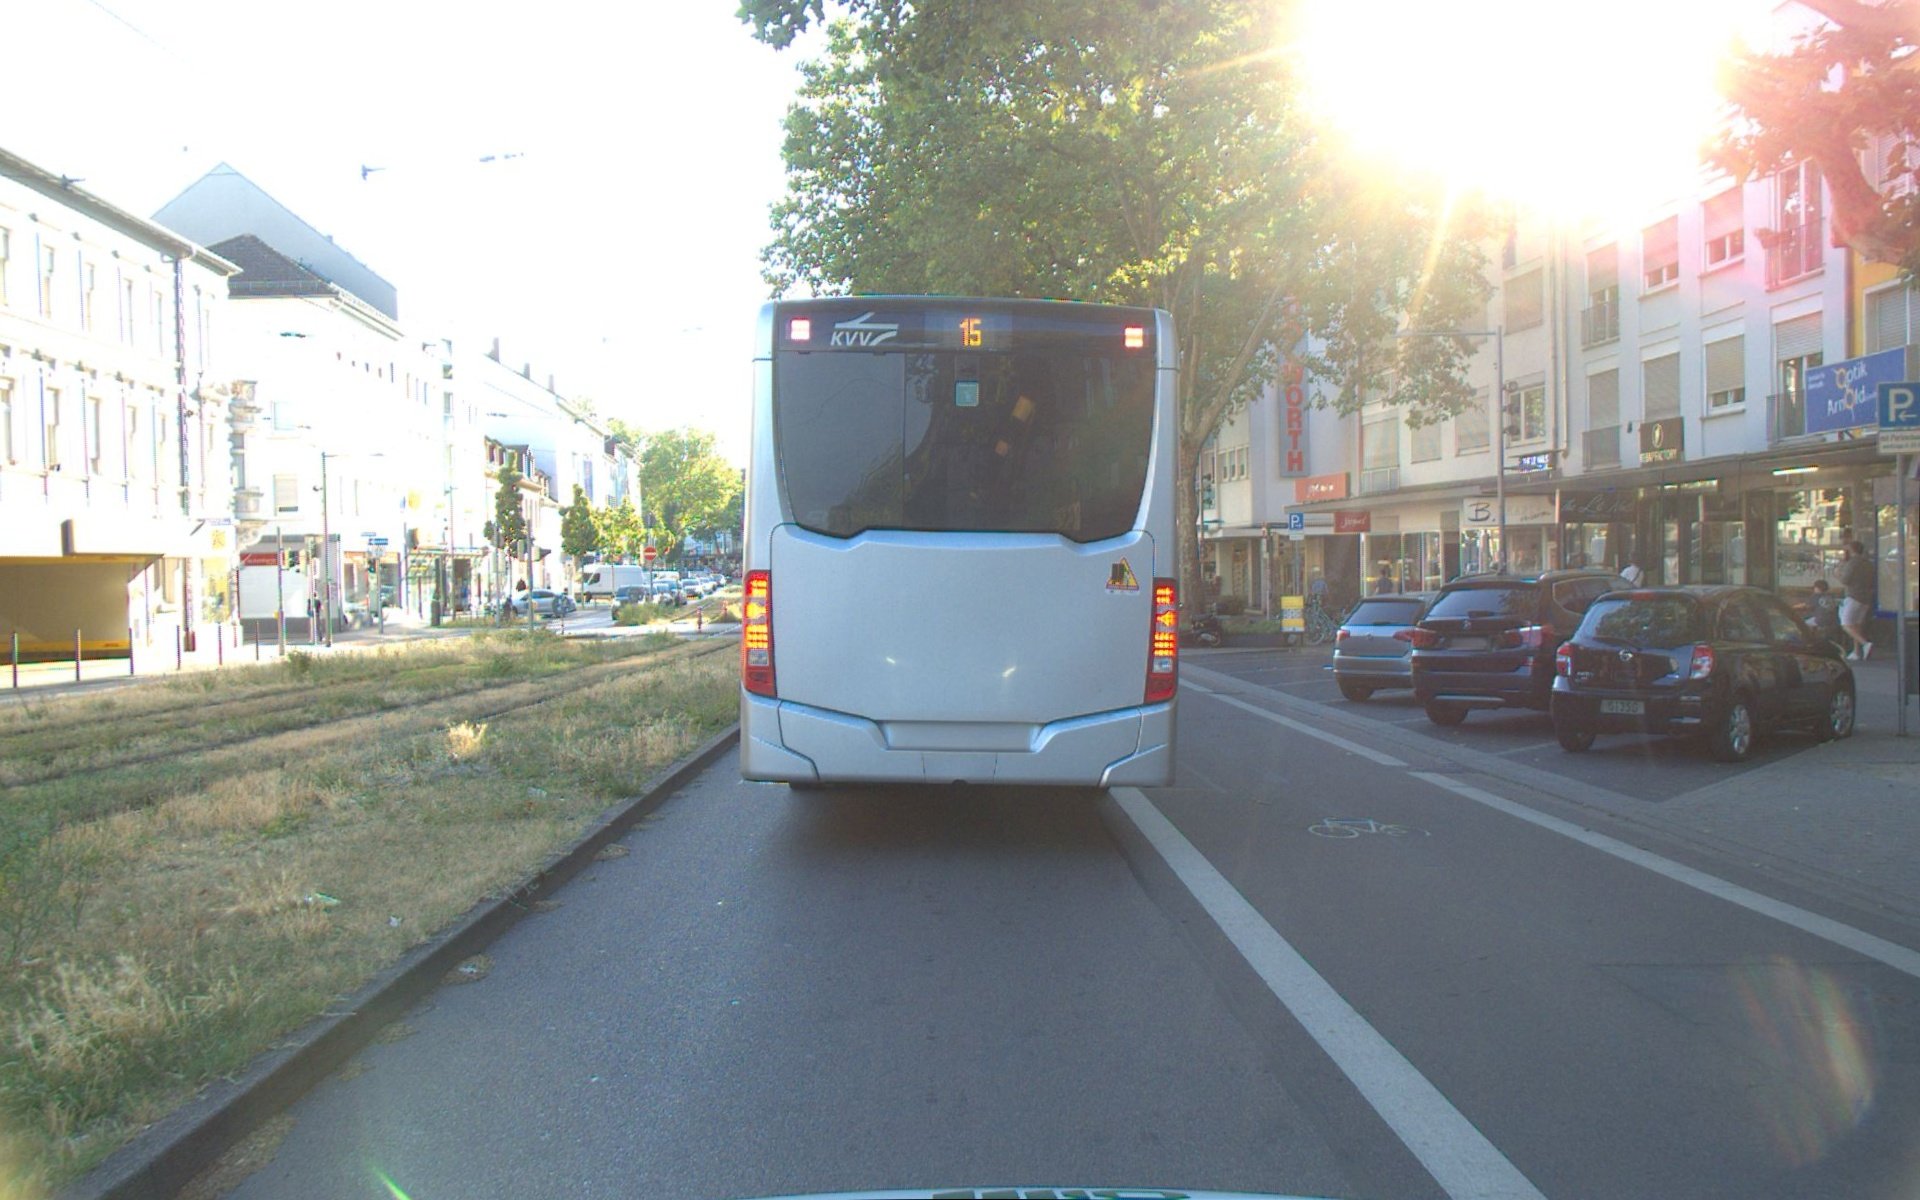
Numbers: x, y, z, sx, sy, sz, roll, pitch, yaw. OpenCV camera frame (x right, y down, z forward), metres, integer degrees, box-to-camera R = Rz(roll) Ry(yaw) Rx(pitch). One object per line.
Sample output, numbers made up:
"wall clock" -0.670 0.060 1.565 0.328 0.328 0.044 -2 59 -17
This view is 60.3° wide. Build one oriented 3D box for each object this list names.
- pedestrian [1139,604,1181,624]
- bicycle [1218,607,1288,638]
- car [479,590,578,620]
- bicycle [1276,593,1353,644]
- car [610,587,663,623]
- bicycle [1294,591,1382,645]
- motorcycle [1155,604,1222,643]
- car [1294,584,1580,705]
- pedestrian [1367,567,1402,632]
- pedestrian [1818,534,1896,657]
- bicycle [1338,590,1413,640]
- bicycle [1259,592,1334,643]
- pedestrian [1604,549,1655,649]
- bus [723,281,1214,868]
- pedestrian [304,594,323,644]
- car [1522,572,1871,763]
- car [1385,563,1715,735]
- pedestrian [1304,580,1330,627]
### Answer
"pedestrian" 6.231 0.440 51.508 1.229 0.599 0.482 0 0 -3
"bicycle" 7.927 0.611 44.851 1.836 0.778 0.712 -1 2 7
"car" -22.005 0.247 84.340 4.504 1.437 1.973 -1 1 -38
"bicycle" 9.185 0.475 42.847 1.753 1.210 0.671 -4 0 -10
"car" -15.100 0.207 77.345 1.687 1.535 3.476 -3 0 0
"bicycle" 9.464 0.447 41.464 2.037 1.254 0.832 -2 0 4
"motorcycle" 5.579 0.573 40.401 1.539 0.908 0.544 -1 0 -4
"car" 6.664 0.551 22.914 4.137 1.477 1.784 -1 0 -39
"pedestrian" 12.149 -0.012 47.326 0.764 1.825 0.764 -1 0 -1
"pedestrian" 13.795 -0.068 25.457 0.692 1.822 0.788 -4 0 5
"bicycle" 10.482 0.369 41.792 1.726 1.174 0.679 -2 0 8
"bicycle" 8.904 0.460 43.852 1.836 1.210 0.712 -4 0 7
"pedestrian" 12.932 -0.025 31.979 0.629 1.909 0.824 -1 0 1
"bus" 0.051 -0.188 12.436 2.623 3.137 7.114 0 1 0
"pedestrian" -22.788 0.658 58.302 0.417 1.743 0.508 -1 0 3
"car" 7.024 0.547 15.638 3.577 1.567 1.715 -1 0 -42
"car" 6.759 0.470 18.756 4.116 1.710 1.782 -1 0 -42
"pedestrian" 13.474 0.137 62.445 0.733 1.708 0.834 -1 2 -7
